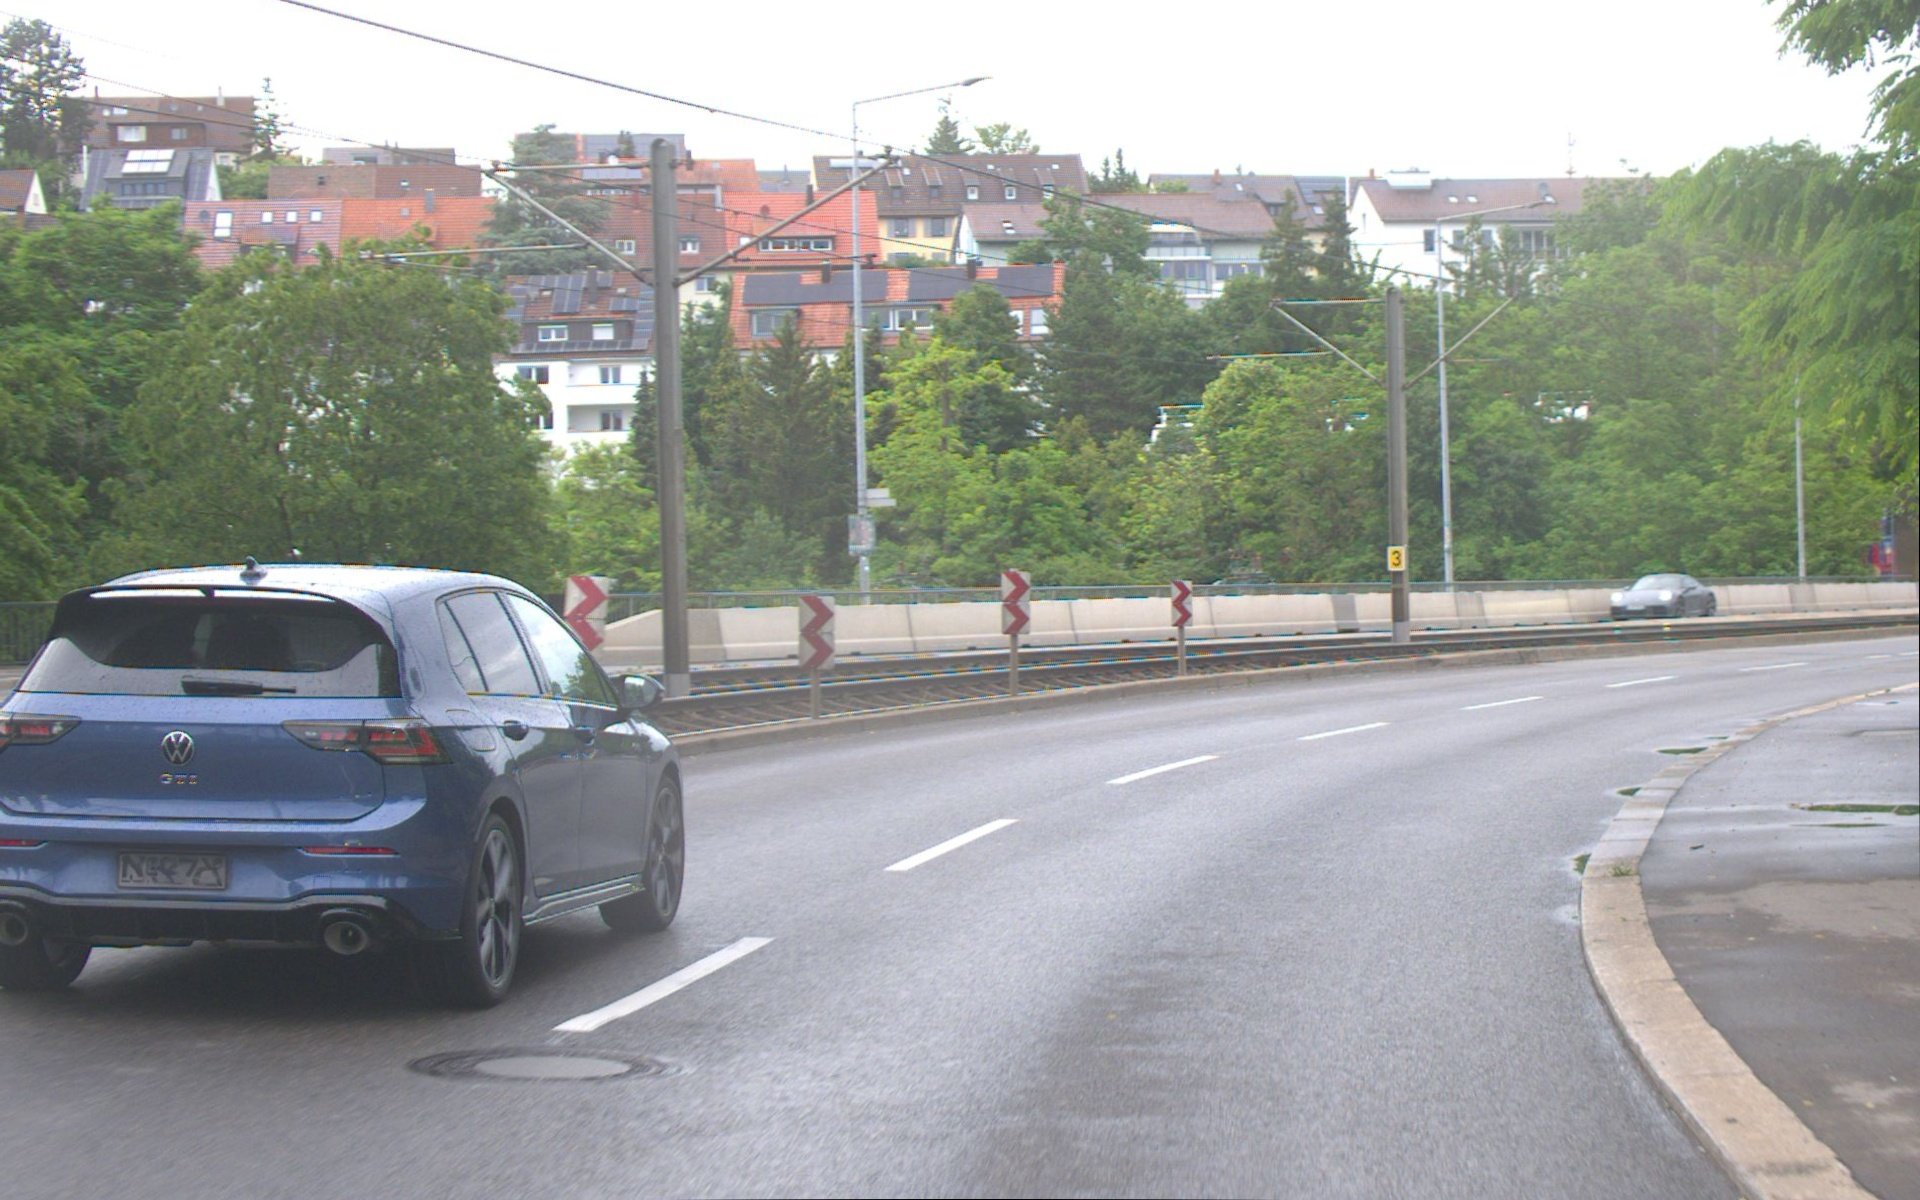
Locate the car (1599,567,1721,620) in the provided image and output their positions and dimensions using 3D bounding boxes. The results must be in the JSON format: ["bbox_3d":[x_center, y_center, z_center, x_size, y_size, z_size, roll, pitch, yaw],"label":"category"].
[{"bbox_3d":[19.035,-0.186,93.423,1.997,1.361,4.184,0,1,30],"label":"car"}]

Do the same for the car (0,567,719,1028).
[{"bbox_3d":[-2.207,0.581,12.772,1.808,1.374,4.346,1,1,7],"label":"car"}]
